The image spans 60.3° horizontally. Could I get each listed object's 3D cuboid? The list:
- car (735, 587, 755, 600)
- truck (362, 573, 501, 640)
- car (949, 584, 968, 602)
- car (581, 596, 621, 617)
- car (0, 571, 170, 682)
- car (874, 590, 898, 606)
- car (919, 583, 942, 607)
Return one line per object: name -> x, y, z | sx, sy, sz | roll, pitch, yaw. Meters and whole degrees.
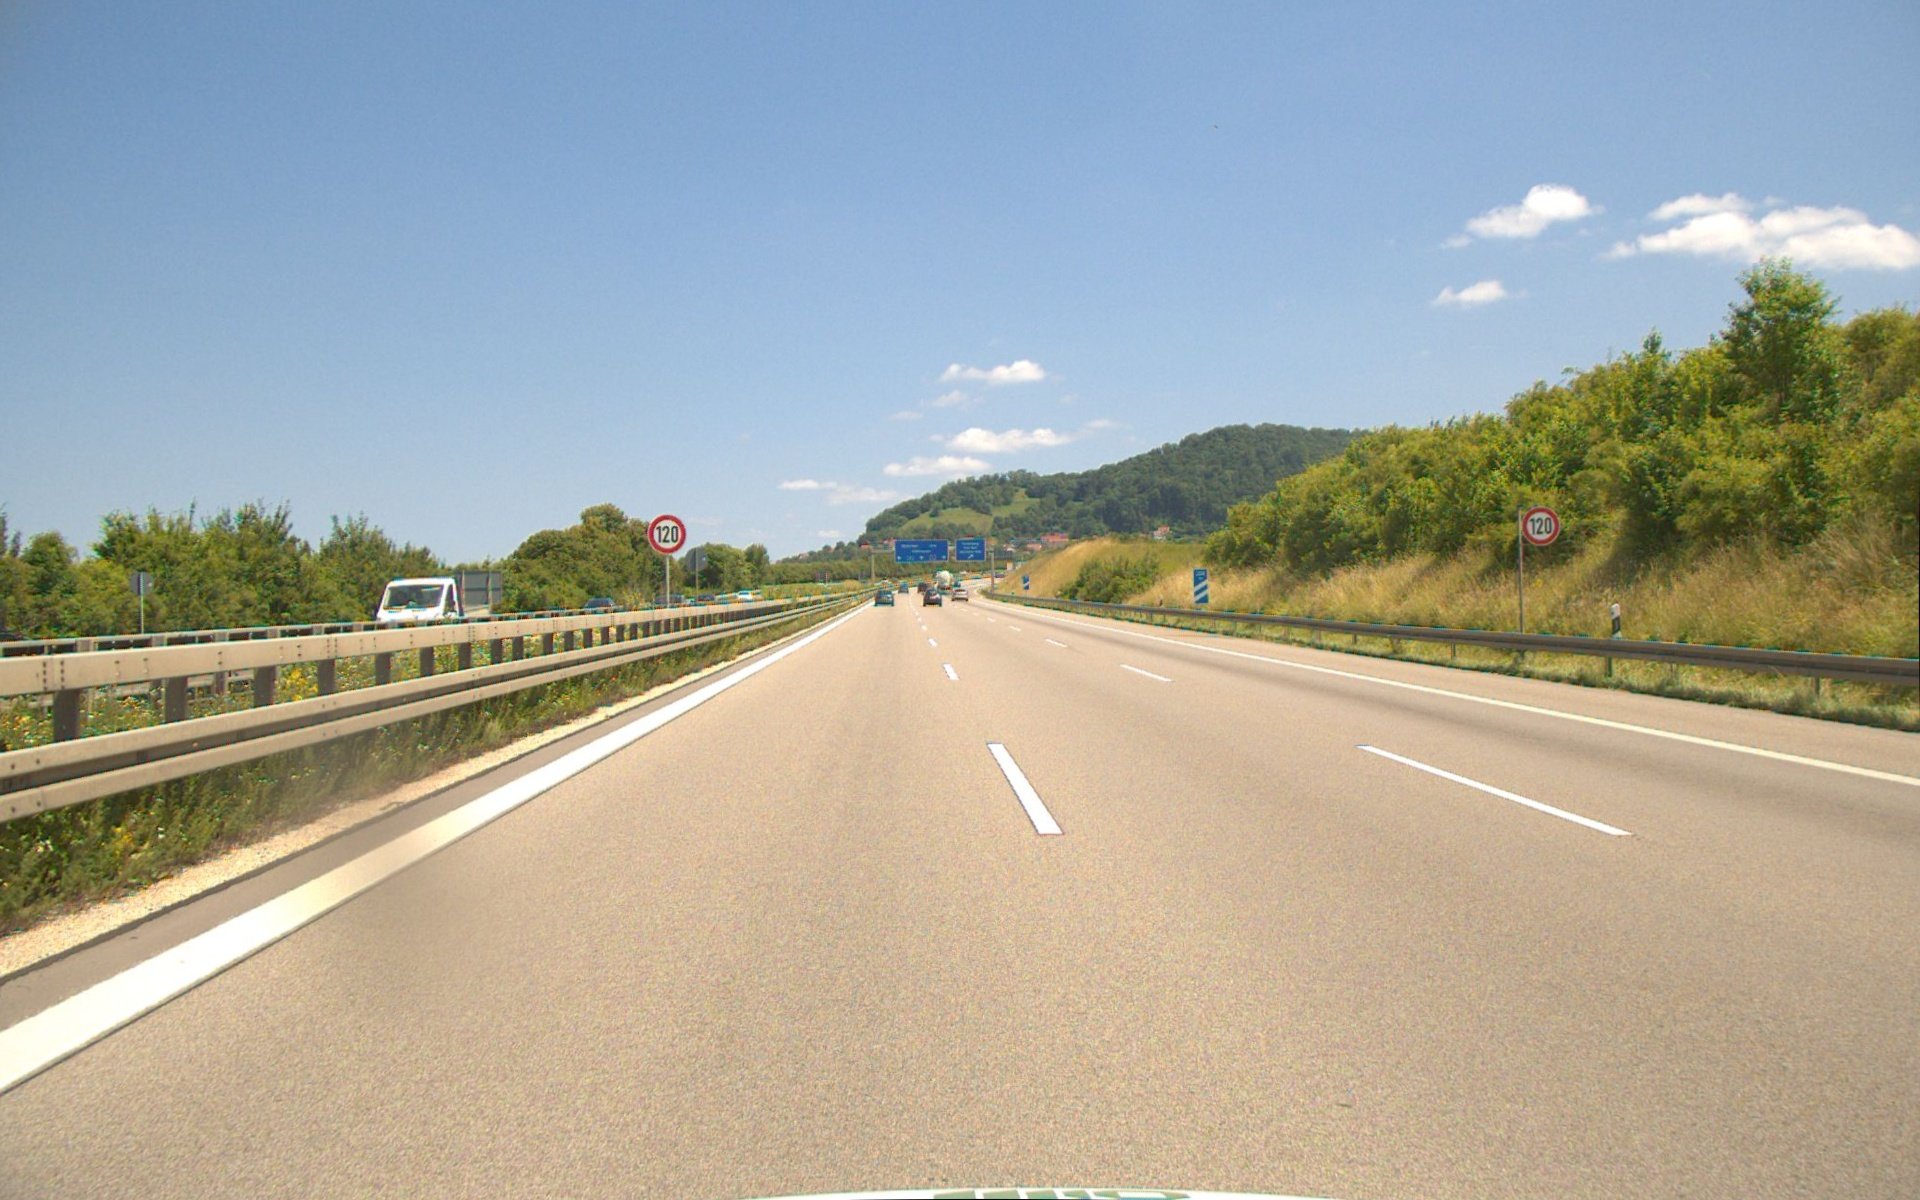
car -> -25.860, -0.743, 199.167 | 1.848, 1.567, 3.999 | 1, 0, -1
truck -> -15.835, 0.192, 49.924 | 2.379, 1.869, 5.725 | 1, 0, -1
car -> -0.132, -0.781, 184.020 | 1.953, 1.850, 3.999 | -2, 0, -1
car -> -22.080, 0.403, 101.810 | 1.705, 1.285, 3.677 | 1, 0, -1
car -> -14.130, 0.379, 25.535 | 1.908, 1.570, 4.284 | 1, 0, -2
car -> -6.373, -0.166, 142.245 | 1.953, 1.413, 3.999 | 1, 0, -1
car -> -2.535, -0.425, 142.829 | 1.953, 2.049, 3.999 | 1, 0, -1
